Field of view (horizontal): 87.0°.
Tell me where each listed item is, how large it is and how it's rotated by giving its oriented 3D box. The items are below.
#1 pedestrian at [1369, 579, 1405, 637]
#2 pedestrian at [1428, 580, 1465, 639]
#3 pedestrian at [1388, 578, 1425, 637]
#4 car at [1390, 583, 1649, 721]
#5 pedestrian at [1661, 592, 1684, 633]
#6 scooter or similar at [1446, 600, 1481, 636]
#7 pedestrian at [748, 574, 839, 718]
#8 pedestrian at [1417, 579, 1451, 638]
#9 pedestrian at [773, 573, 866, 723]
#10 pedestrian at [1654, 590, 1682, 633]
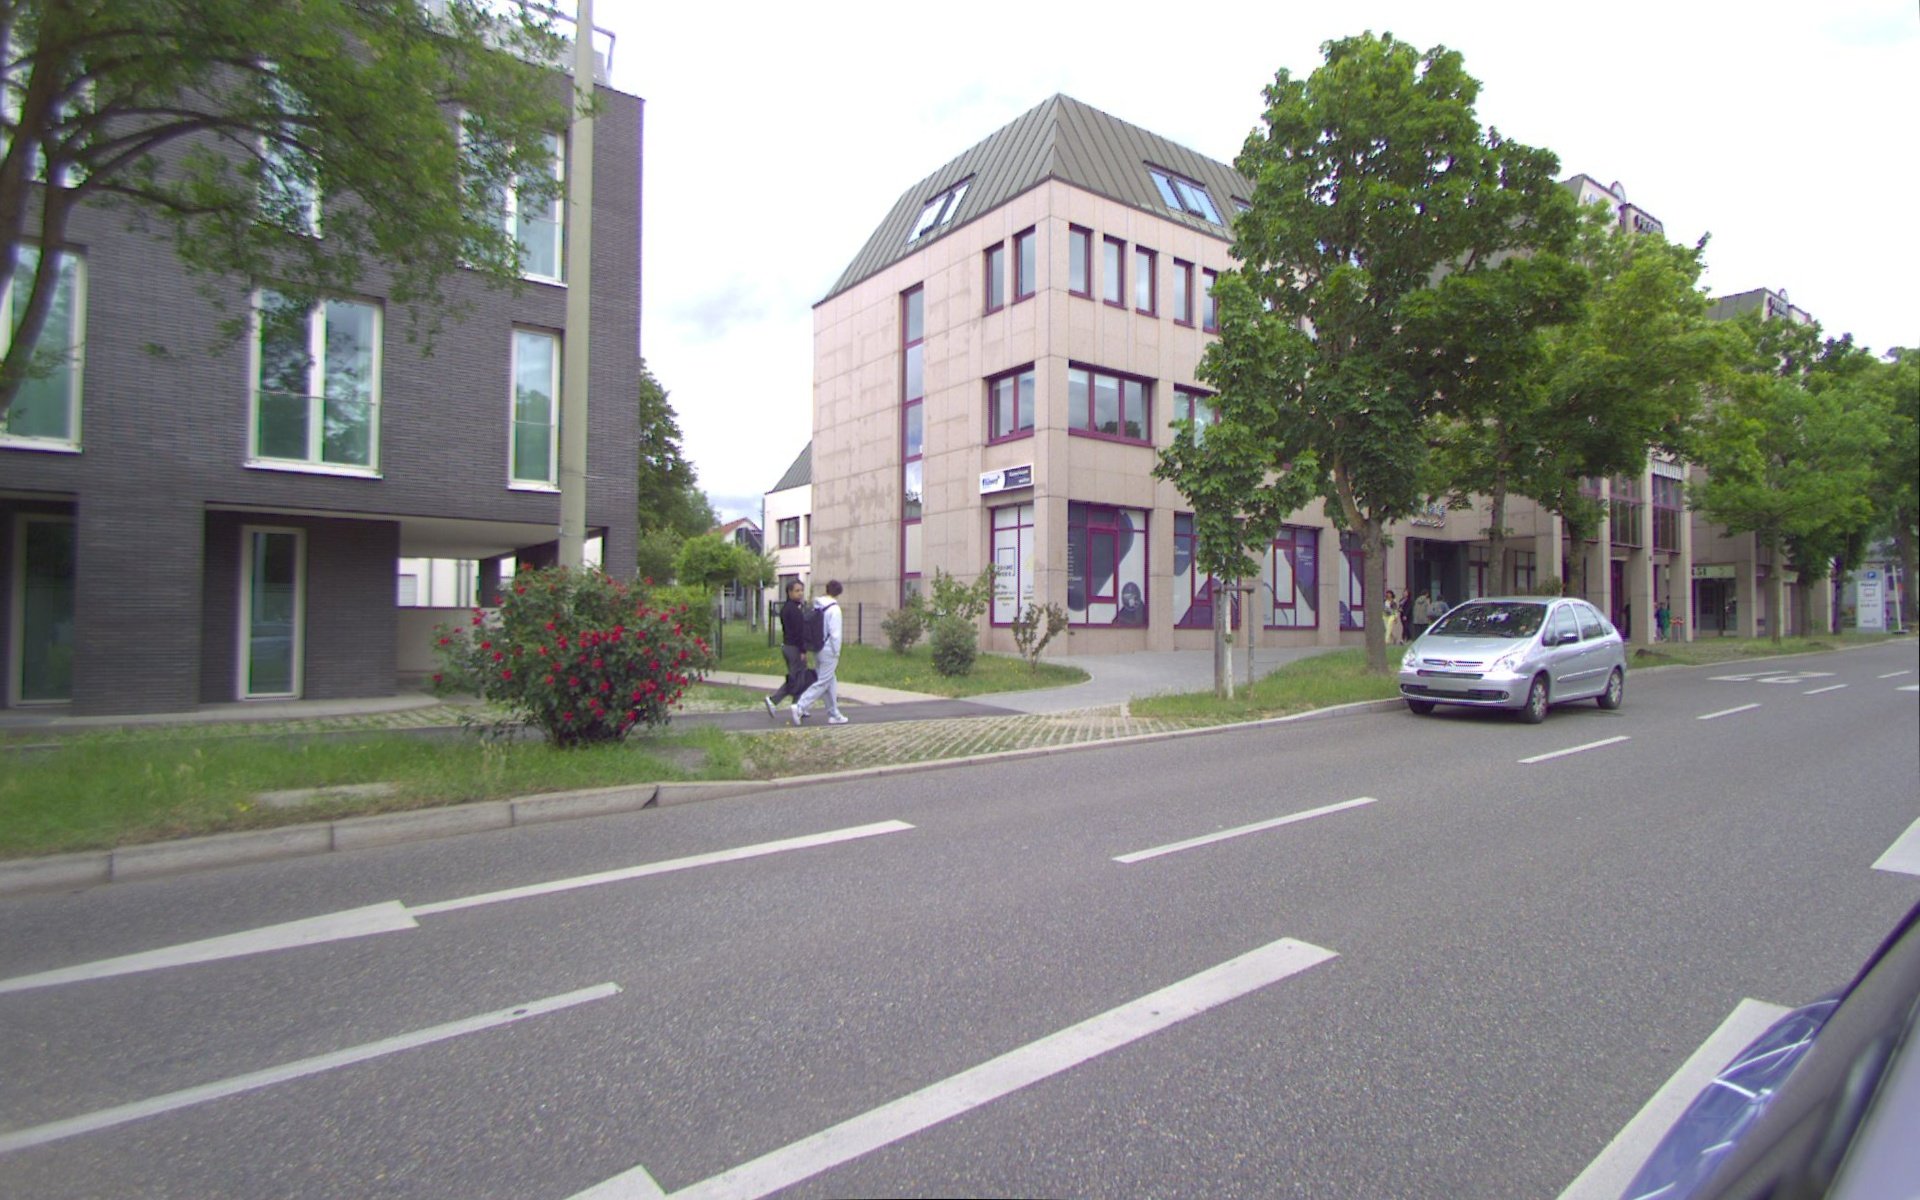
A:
[{"bbox_3d":[12.985,0.235,30.762,0.951,1.726,0.597,0,-1,-35],"label":"pedestrian"},{"bbox_3d":[13.991,0.269,29.108,0.943,1.673,0.557,0,0,-34],"label":"pedestrian"},{"bbox_3d":[13.326,0.212,30.204,0.951,1.726,0.597,0,-1,-35],"label":"pedestrian"},{"bbox_3d":[7.878,0.628,14.110,4.080,1.656,1.763,0,0,-39],"label":"car"},{"bbox_3d":[27.942,0.484,39.690,0.534,1.569,0.563,0,1,-36],"label":"pedestrian"},{"bbox_3d":[14.724,0.515,29.615,0.830,1.006,0.585,0,0,-34],"label":"scooter or similar"},{"bbox_3d":[-2.168,0.590,13.196,0.936,1.798,0.609,3,-3,-40],"label":"pedestrian"},{"bbox_3d":[14.001,0.236,29.900,0.814,1.721,0.569,0,-1,-36],"label":"pedestrian"},{"bbox_3d":[-1.759,0.597,12.686,0.936,1.798,0.609,3,-3,-40],"label":"pedestrian"},{"bbox_3d":[28.820,0.470,41.187,0.827,1.712,0.659,0,1,-36],"label":"pedestrian"}]
